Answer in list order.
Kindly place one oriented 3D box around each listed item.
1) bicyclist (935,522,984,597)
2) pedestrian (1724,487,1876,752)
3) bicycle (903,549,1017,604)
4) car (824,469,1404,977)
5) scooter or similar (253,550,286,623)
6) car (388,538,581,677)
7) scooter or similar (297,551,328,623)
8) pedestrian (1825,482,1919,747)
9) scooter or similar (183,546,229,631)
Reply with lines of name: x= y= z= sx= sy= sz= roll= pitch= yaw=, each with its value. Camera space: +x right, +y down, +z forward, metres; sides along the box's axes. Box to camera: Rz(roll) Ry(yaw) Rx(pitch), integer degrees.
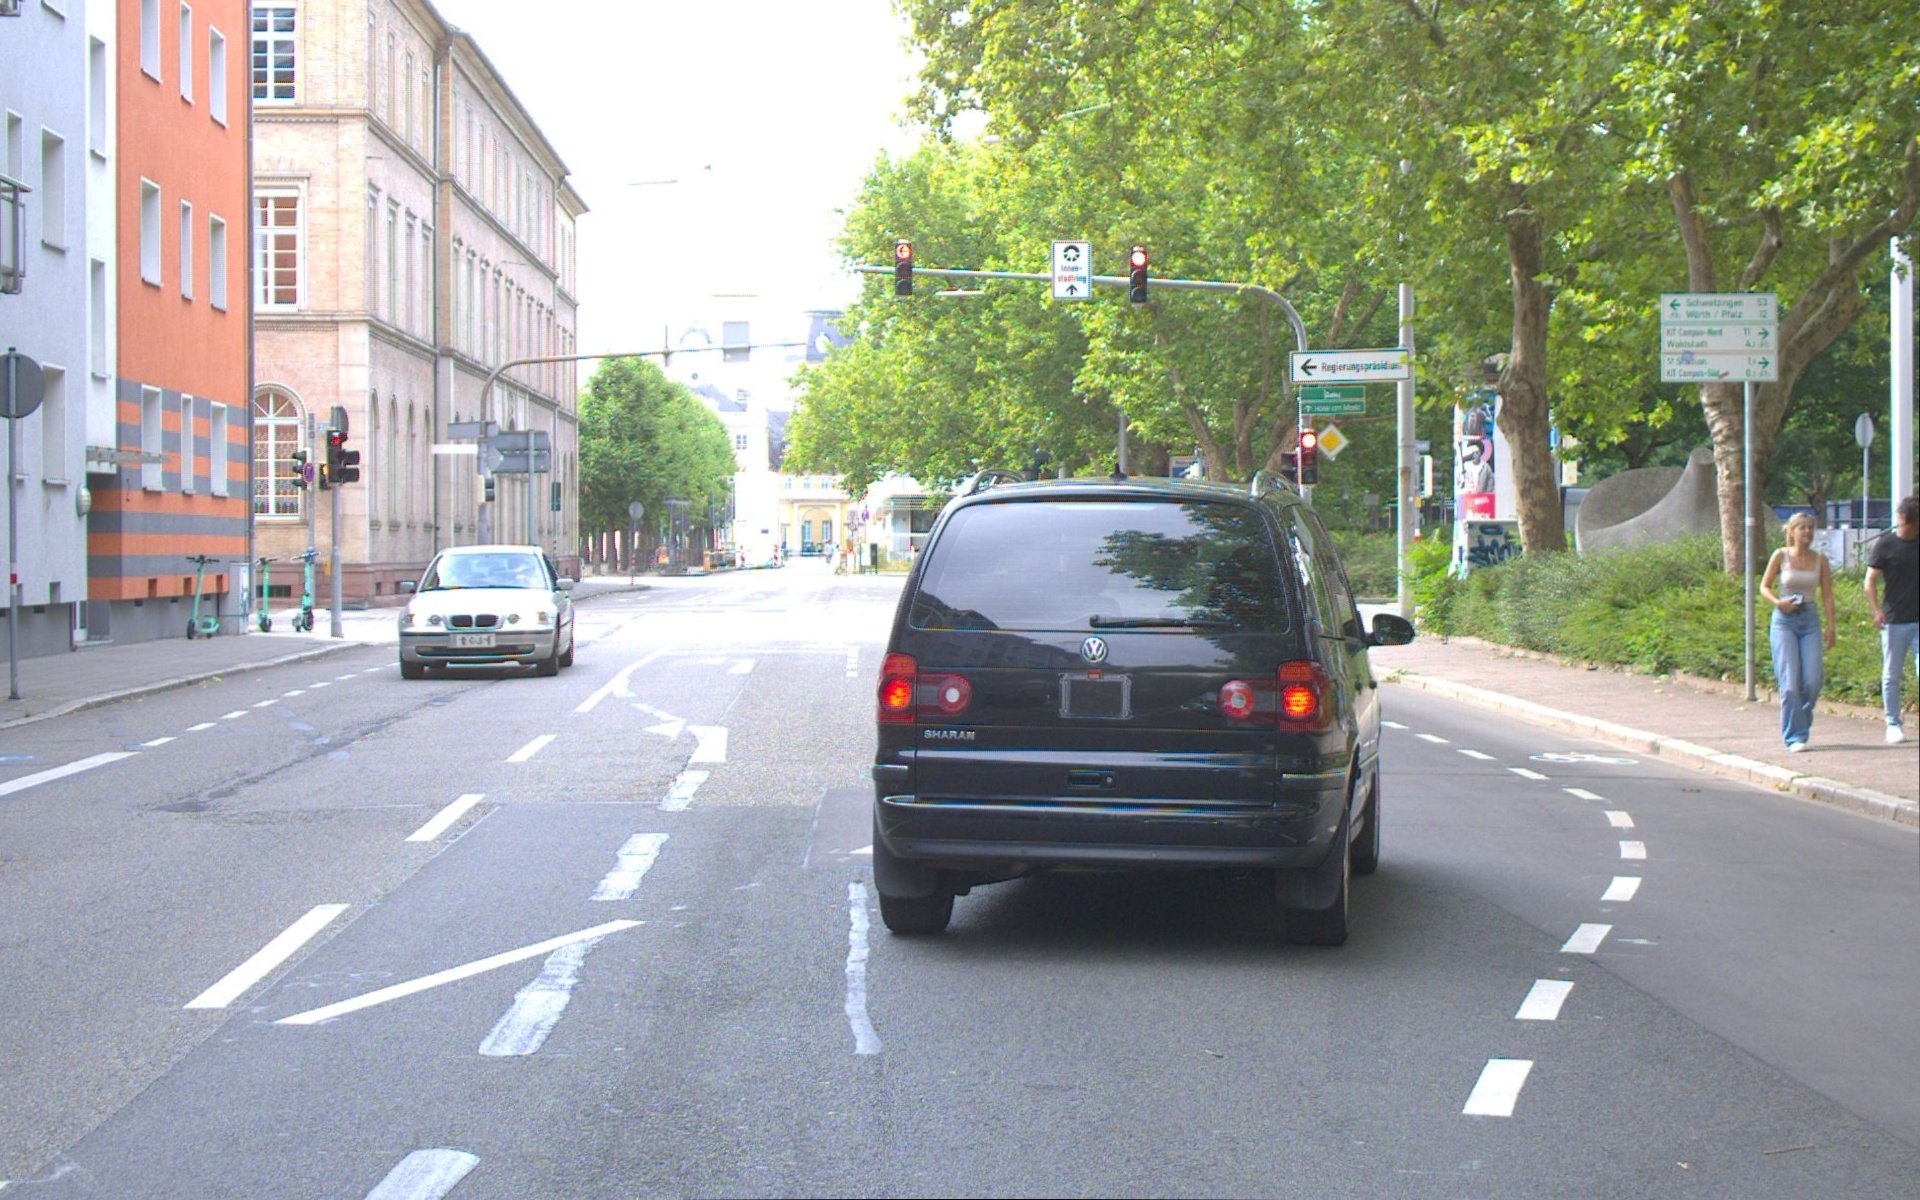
bicyclist: x=-0.009 y=-0.816 z=68.963 sx=0.914 sy=1.488 sz=0.626 roll=0 pitch=1 yaw=-6
pedestrian: x=5.826 y=0.128 z=23.888 sx=0.710 sy=1.777 sz=1.034 roll=-2 pitch=1 yaw=-3
bicycle: x=0.004 y=-0.470 z=68.979 sx=2.233 sy=1.090 sz=0.627 roll=0 pitch=1 yaw=-6
car: x=0.812 y=0.366 z=14.193 sx=1.874 sy=1.739 sz=4.572 roll=0 pitch=1 yaw=9
scooter or similar: x=-10.921 y=-0.209 z=54.398 sx=0.378 sy=1.143 sz=1.142 roll=0 pitch=0 yaw=-5
car: x=-5.304 y=0.043 z=38.782 sx=1.757 sy=1.422 sz=4.099 roll=-1 pitch=1 yaw=-3
scooter or similar: x=-10.348 y=-0.209 z=54.920 sx=0.378 sy=1.140 sz=1.142 roll=0 pitch=0 yaw=-5
pedestrian: x=6.553 y=0.085 z=23.919 sx=0.715 sy=1.794 sz=1.034 roll=-2 pitch=1 yaw=-3
scooter or similar: x=-10.569 y=-0.158 z=48.187 sx=0.378 sy=1.179 sz=1.390 roll=0 pitch=0 yaw=-2
